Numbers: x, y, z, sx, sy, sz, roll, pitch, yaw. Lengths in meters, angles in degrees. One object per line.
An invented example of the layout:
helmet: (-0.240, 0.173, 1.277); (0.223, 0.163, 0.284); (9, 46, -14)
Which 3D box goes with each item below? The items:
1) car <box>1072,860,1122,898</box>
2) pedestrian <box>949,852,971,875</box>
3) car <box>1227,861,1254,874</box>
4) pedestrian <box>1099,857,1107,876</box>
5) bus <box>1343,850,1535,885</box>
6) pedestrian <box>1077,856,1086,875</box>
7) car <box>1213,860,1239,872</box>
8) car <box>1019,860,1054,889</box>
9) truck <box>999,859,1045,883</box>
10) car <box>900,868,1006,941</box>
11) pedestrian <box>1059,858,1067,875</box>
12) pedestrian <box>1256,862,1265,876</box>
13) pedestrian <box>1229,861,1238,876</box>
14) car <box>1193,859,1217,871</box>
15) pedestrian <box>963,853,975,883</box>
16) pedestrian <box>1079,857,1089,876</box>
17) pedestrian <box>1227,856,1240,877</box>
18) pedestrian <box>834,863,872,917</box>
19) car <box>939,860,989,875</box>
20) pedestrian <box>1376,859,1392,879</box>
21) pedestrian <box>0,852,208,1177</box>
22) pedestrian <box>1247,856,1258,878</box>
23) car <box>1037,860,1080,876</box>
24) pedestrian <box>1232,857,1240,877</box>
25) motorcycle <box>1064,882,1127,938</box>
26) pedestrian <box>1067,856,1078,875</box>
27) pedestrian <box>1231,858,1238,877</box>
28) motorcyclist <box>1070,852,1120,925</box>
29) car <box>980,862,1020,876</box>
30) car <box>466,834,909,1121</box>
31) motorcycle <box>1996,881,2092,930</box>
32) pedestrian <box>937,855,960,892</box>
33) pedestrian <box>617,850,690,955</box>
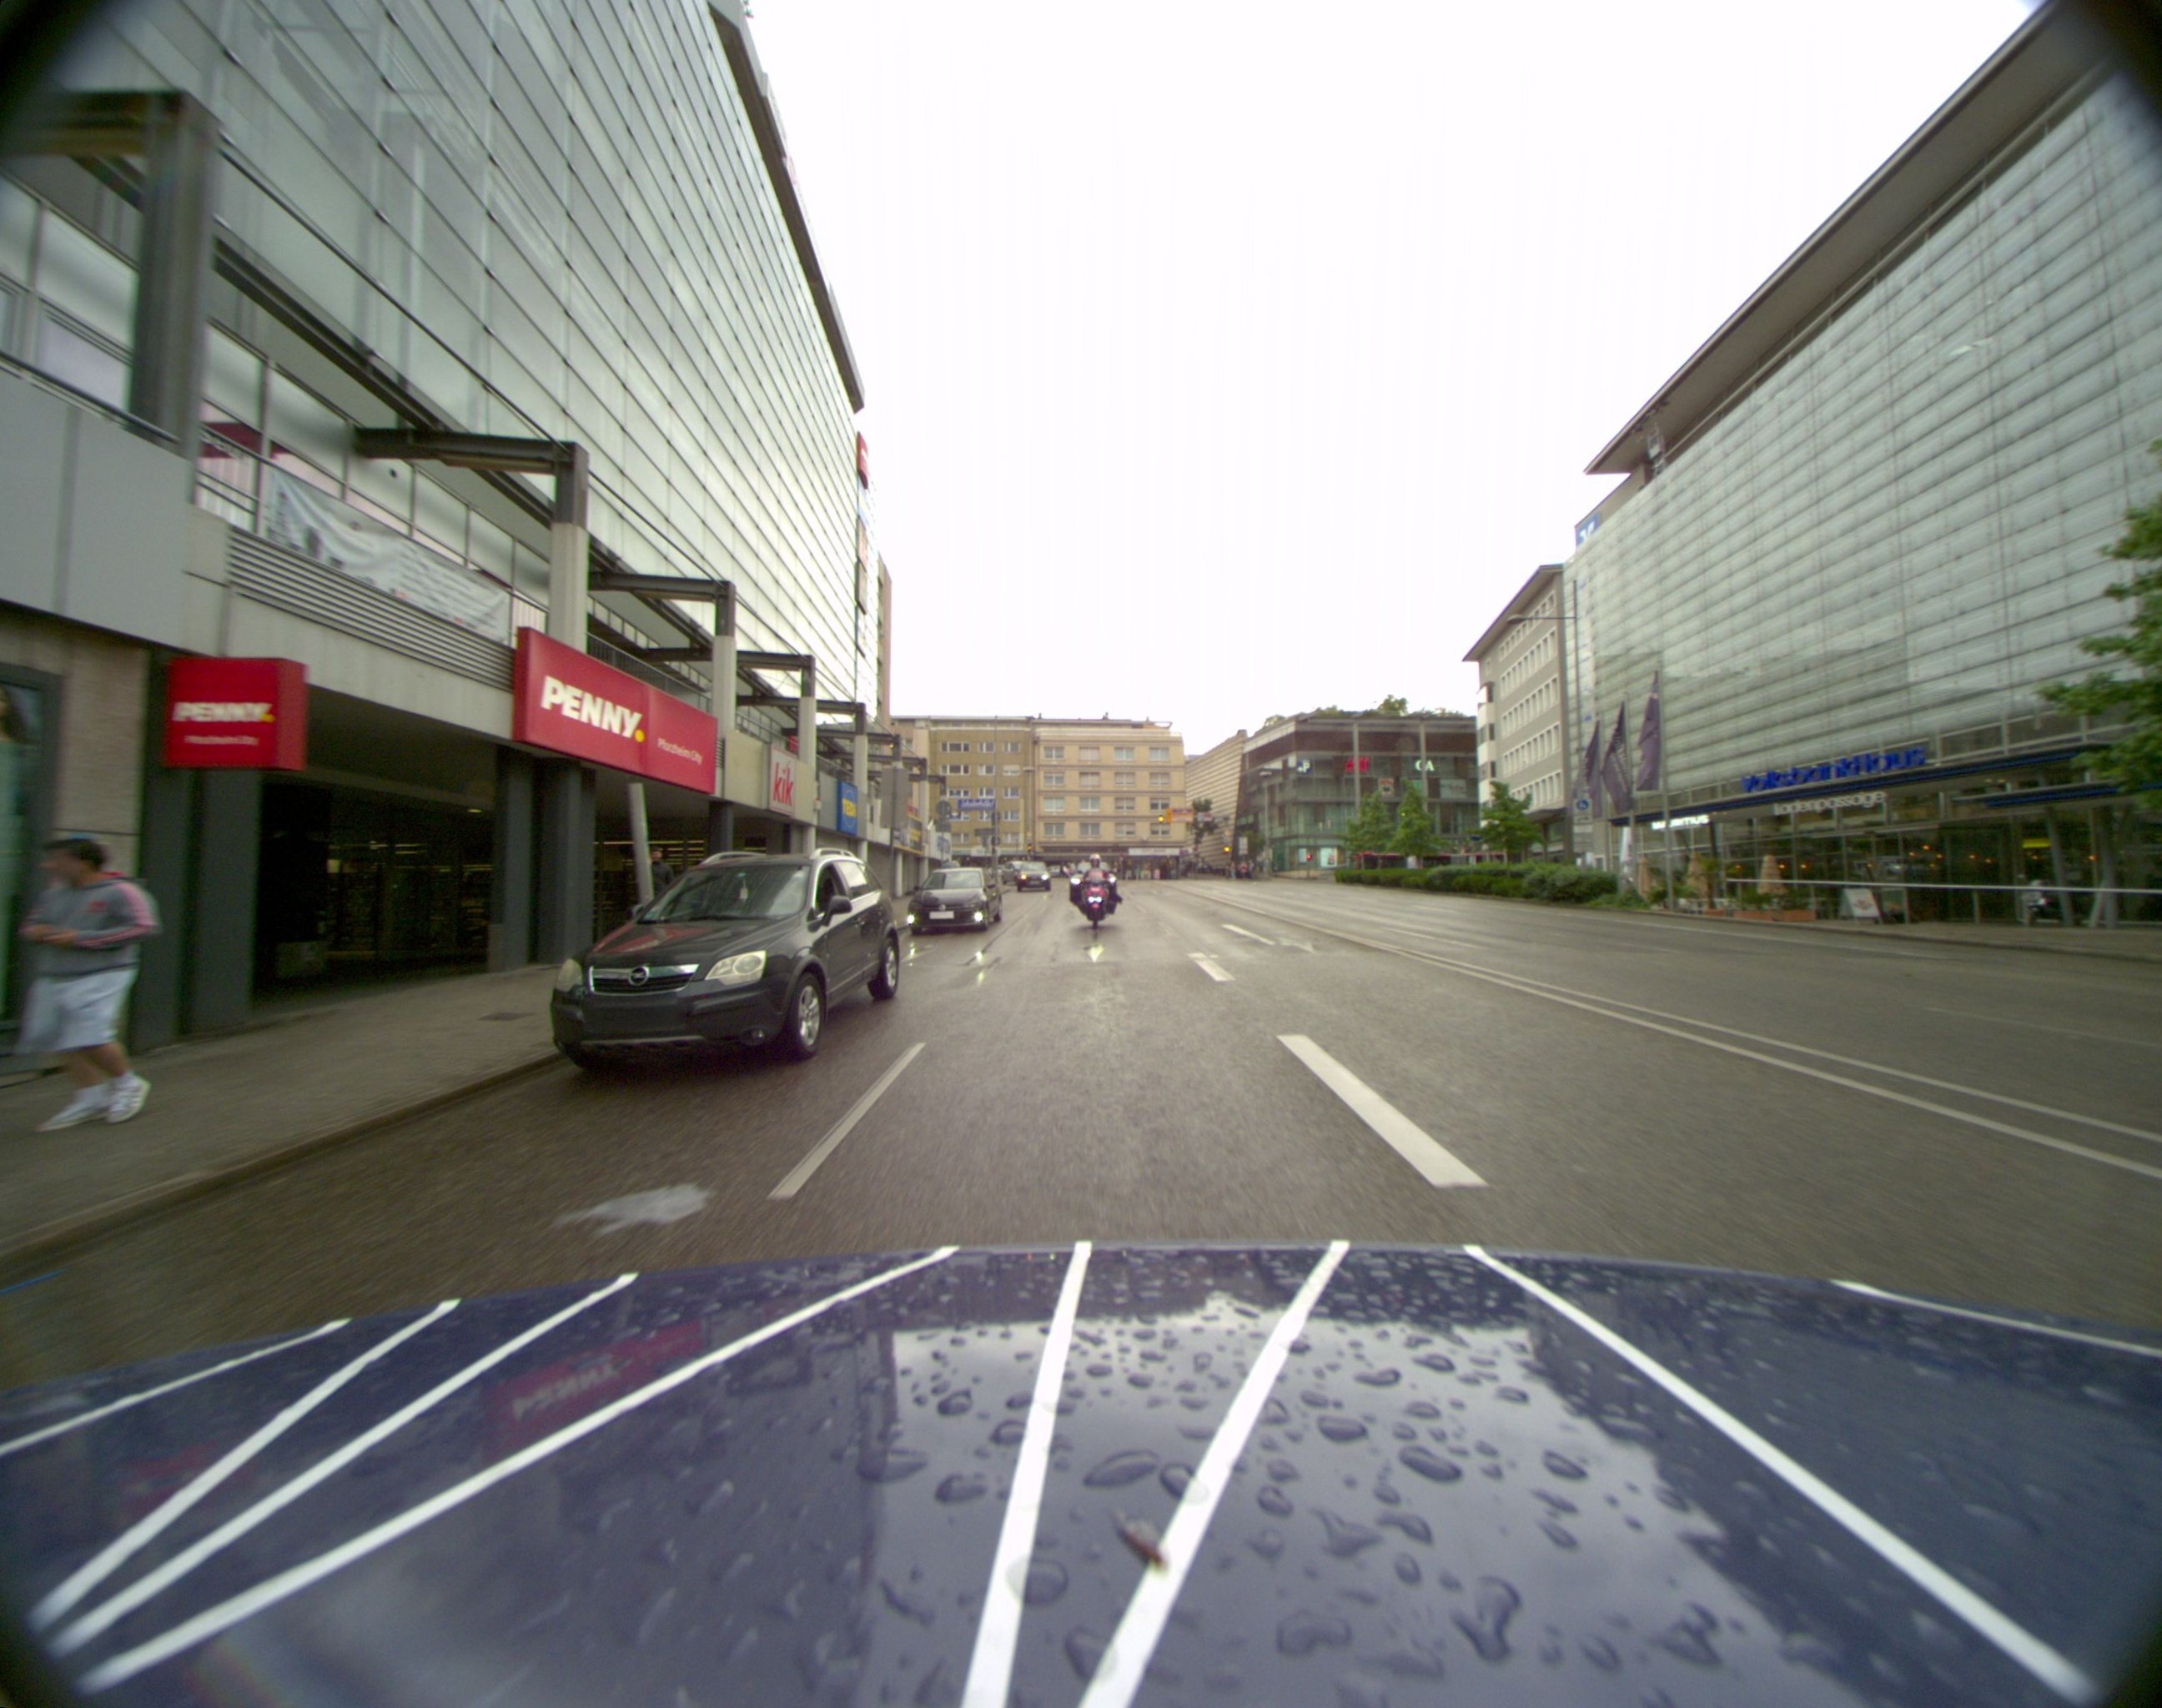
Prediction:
car: (0.646, 1.084, 32.558); (1.998, 1.482, 4.736); (1, -2, 0)
pedestrian: (-8.625, 0.665, 54.223); (1.061, 1.522, 1.024); (4, -1, -39)
car: (20.530, 1.717, 97.830); (1.806, 1.537, 4.292); (0, 0, -13)
pedestrian: (1.969, 1.127, 68.497); (0.693, 1.682, 0.759); (2, 0, 1)
bus: (36.512, 1.367, 77.864); (18.467, 3.300, 2.930); (1, -1, -2)
pedestrian: (0.052, 1.054, 69.119); (0.706, 1.701, 0.786); (2, 0, 1)
car: (19.716, 1.585, 103.342); (1.899, 1.537, 4.376); (-2, 0, -13)
car: (-2.495, 1.101, 42.159); (1.872, 1.538, 4.103); (0, -1, -4)
truck: (-4.053, 1.148, 51.989); (1.858, 1.532, 3.992); (-1, -1, -25)
car: (-2.926, 1.119, 18.192); (1.742, 1.422, 3.880); (-4, 0, 1)
pedestrian: (-1.592, 1.104, 66.887); (0.560, 1.479, 0.707); (2, 0, 1)
pedestrian: (23.040, 1.874, 97.437); (0.695, 1.751, 1.048); (1, -2, -13)
pedestrian: (13.338, 1.274, 66.588); (0.588, 1.331, 0.631); (1, 0, -9)
car: (18.050, 1.571, 110.395); (1.899, 1.537, 4.376); (-2, 0, -13)
pedestrian: (-6.877, 0.868, 46.762); (0.601, 1.829, 1.012); (1, -1, -3)
pedestrian: (0.284, 1.087, 66.435); (0.854, 1.559, 0.715); (1, 0, 1)
pedestrian: (13.655, 1.115, 67.985); (0.853, 1.777, 1.012); (1, 0, -10)
pedestrian: (-6.291, 0.983, 20.980); (0.773, 1.458, 0.704); (0, 0, 8)
car: (-11.335, 1.281, 73.802); (4.630, 1.407, 1.798); (0, -2, -4)
pedestrian: (26.245, 1.284, 65.788); (0.800, 1.765, 1.024); (1, 0, -9)
pedestrian: (-6.038, 0.851, 4.478); (0.837, 1.712, 0.830); (0, 0, 8)
pedestrian: (14.520, 1.099, 64.320); (0.617, 1.768, 0.832); (1, 0, -9)
car: (-2.397, 1.451, 79.881); (4.084, 1.543, 1.850); (2, 0, 18)
pedestrian: (13.324, 1.093, 65.355); (0.638, 1.679, 0.784); (0, 0, 5)
motorcycle: (0.305, 1.201, 16.925); (1.313, 1.128, 2.185); (1, -2, 0)
pedestrian: (-0.726, 1.032, 67.462); (0.914, 1.662, 0.982); (0, 0, 2)
pedestrian: (13.312, 1.198, 66.022); (0.501, 1.658, 0.571); (0, -1, 3)
motorcyclist: (0.300, 0.768, 17.048); (1.092, 1.595, 0.953); (0, -1, 0)
car: (-9.109, 1.706, 85.700); (4.398, 1.541, 1.853); (0, 0, -4)
car: (-3.131, 0.877, 7.254); (1.912, 1.774, 4.302); (-5, -1, -1)
motorcycle: (26.364, 1.391, 20.816); (1.550, 1.288, 0.769); (0, 0, 6)
pedestrian: (-6.083, 0.889, 34.888); (0.837, 1.712, 0.618); (0, 0, 8)
pedestrian: (-7.185, 0.791, 12.795); (0.817, 1.705, 0.671); (0, 0, 11)
